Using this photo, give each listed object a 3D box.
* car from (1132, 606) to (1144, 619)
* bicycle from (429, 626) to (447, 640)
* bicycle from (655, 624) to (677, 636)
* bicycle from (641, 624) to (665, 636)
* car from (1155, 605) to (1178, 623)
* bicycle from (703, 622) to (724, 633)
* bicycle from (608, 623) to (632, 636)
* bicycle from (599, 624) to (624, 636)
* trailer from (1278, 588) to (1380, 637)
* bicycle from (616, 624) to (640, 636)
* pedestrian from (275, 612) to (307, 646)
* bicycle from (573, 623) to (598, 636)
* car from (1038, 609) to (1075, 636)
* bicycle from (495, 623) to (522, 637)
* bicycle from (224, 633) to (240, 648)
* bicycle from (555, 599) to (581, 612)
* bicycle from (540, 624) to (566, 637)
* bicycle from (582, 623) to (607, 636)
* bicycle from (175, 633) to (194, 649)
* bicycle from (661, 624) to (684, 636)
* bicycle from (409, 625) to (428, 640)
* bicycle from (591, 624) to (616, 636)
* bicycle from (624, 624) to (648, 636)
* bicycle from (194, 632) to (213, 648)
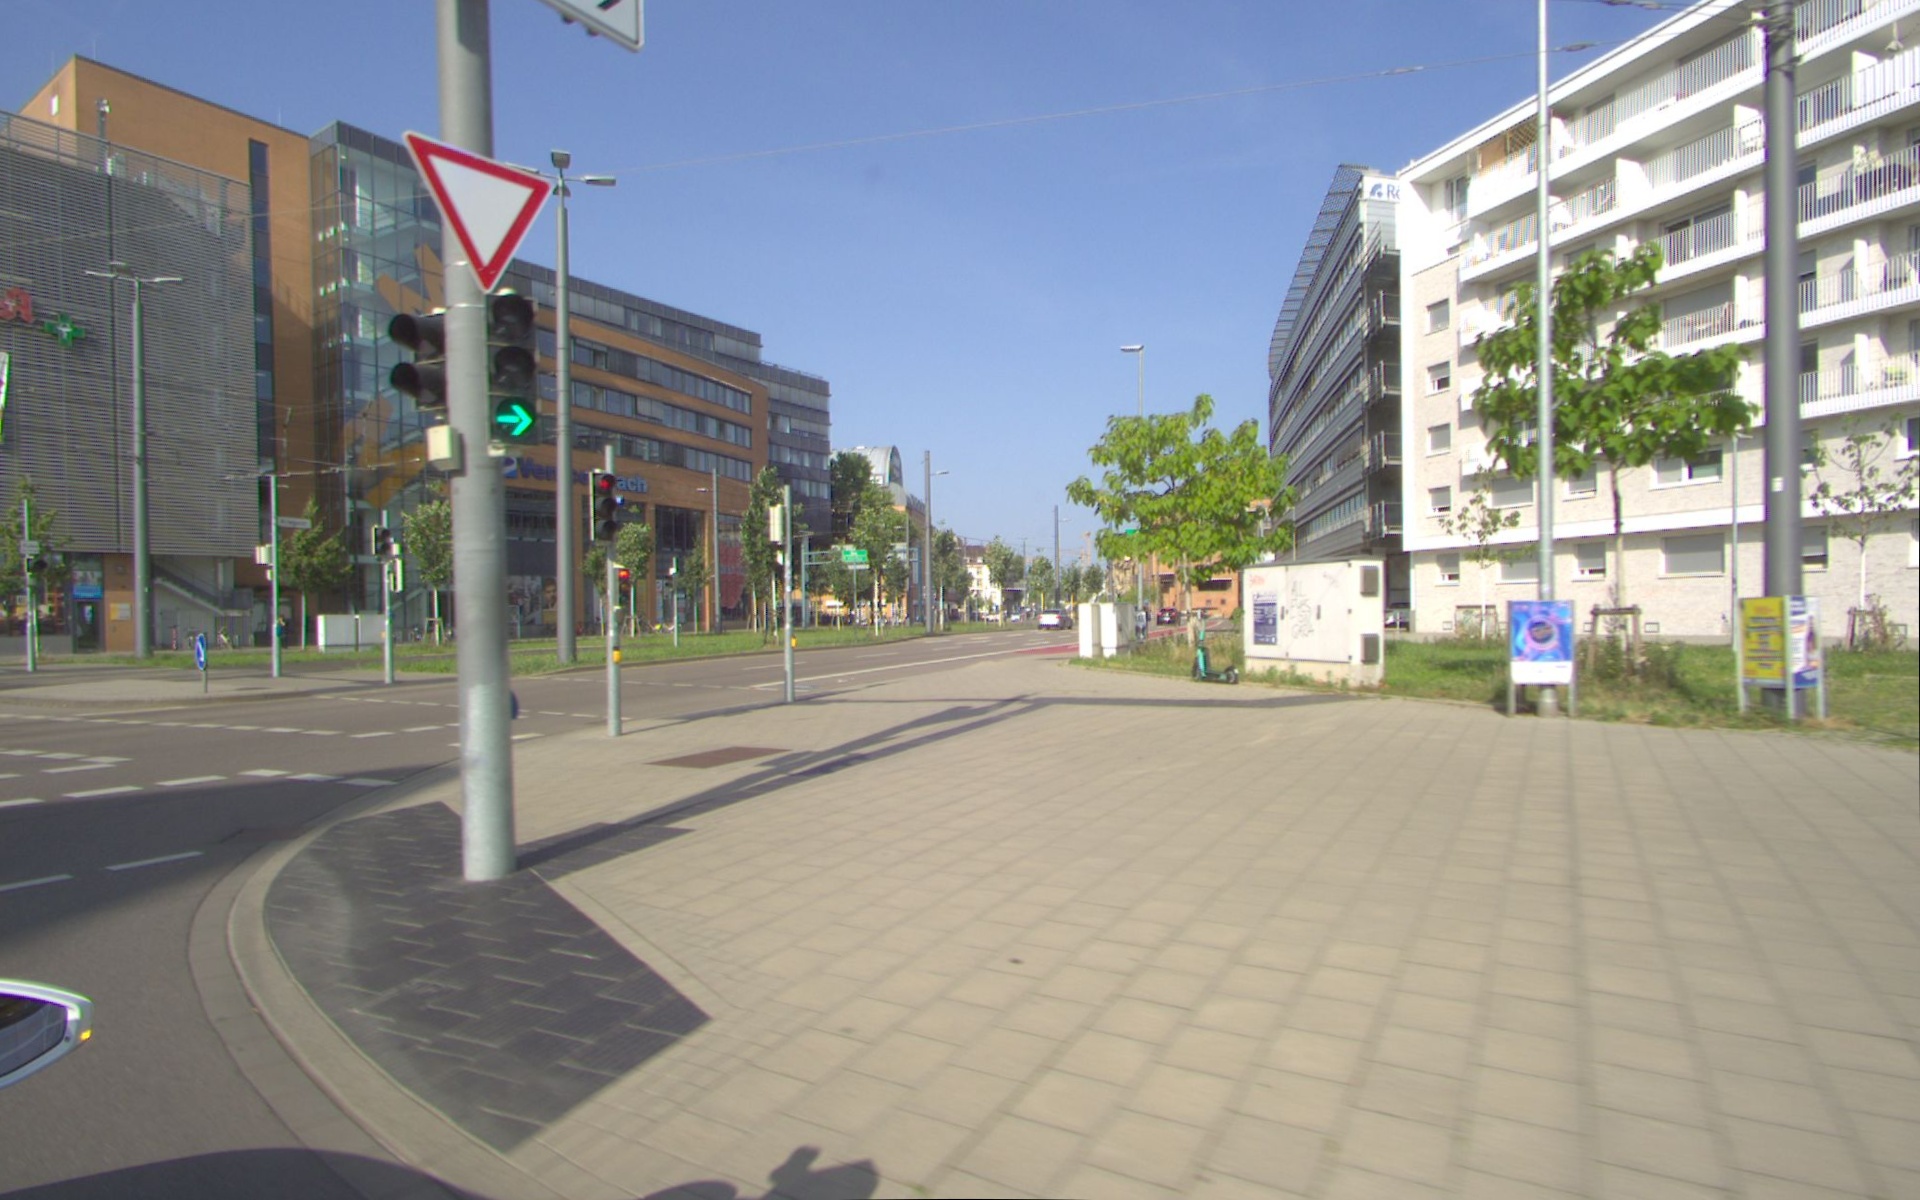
[{"bbox_3d":[20.189,1.448,113.597,1.315,1.405,3.058,-1,-2,11],"label":"car"},{"bbox_3d":[-31.863,2.007,61.126,1.446,0.841,0.256,1,0,30],"label":"bicycle"},{"bbox_3d":[-24.181,2.480,82.398,2.023,0.933,0.379,-1,0,29],"label":"bicycle"},{"bbox_3d":[-24.811,2.434,80.881,2.023,0.933,0.571,-1,0,29],"label":"bicycle"},{"bbox_3d":[18.434,1.260,89.244,1.746,1.528,3.518,-1,-2,15],"label":"car"},{"bbox_3d":[-19.640,2.207,79.922,1.657,0.919,0.706,-1,-1,34],"label":"bicycle"},{"bbox_3d":[-26.436,2.286,77.840,2.023,0.933,0.571,-1,0,29],"label":"bicycle"},{"bbox_3d":[-26.818,2.294,77.073,2.023,0.933,0.571,-1,0,29],"label":"bicycle"},{"bbox_3d":[17.516,0.588,47.348,2.372,2.179,5.894,-1,-1,44],"label":"trailer"},{"bbox_3d":[-26.088,2.330,78.659,2.023,0.933,0.571,-1,0,29],"label":"bicycle"},{"bbox_3d":[-34.783,1.510,52.077,0.808,1.742,1.170,0,0,33],"label":"pedestrian"},{"bbox_3d":[-27.952,2.220,74.720,2.023,0.933,0.571,-1,0,29],"label":"bicycle"},{"bbox_3d":[6.618,1.554,68.259,1.680,1.777,3.886,-1,-2,18],"label":"car"},{"bbox_3d":[-31.008,2.055,68.776,2.023,0.933,0.571,-1,0,29],"label":"bicycle"},{"bbox_3d":[-36.589,2.023,50.307,1.010,0.762,0.359,-1,0,35],"label":"bicycle"},{"bbox_3d":[-28.657,0.404,73.162,2.023,0.933,0.571,-1,0,29],"label":"bicycle"},{"bbox_3d":[-29.246,2.174,71.984,2.023,0.933,0.571,-1,0,29],"label":"bicycle"},{"bbox_3d":[-27.569,2.245,75.465,2.023,0.933,0.571,-1,0,29],"label":"bicycle"},{"bbox_3d":[-37.740,1.981,48.724,0.993,0.762,0.449,-1,0,35],"label":"bicycle"},{"bbox_3d":[-23.876,2.505,83.066,2.023,0.933,0.571,-1,0,29],"label":"bicycle"},{"bbox_3d":[-32.484,1.965,60.065,1.446,0.898,0.256,-1,-2,30],"label":"bicycle"},{"bbox_3d":[-27.147,2.278,76.277,2.023,0.933,0.571,-1,0,29],"label":"bicycle"},{"bbox_3d":[-25.732,2.392,79.411,2.023,0.933,0.571,-1,0,29],"label":"bicycle"},{"bbox_3d":[-37.254,1.980,49.326,0.993,0.762,0.449,-1,0,35],"label":"bicycle"}]
